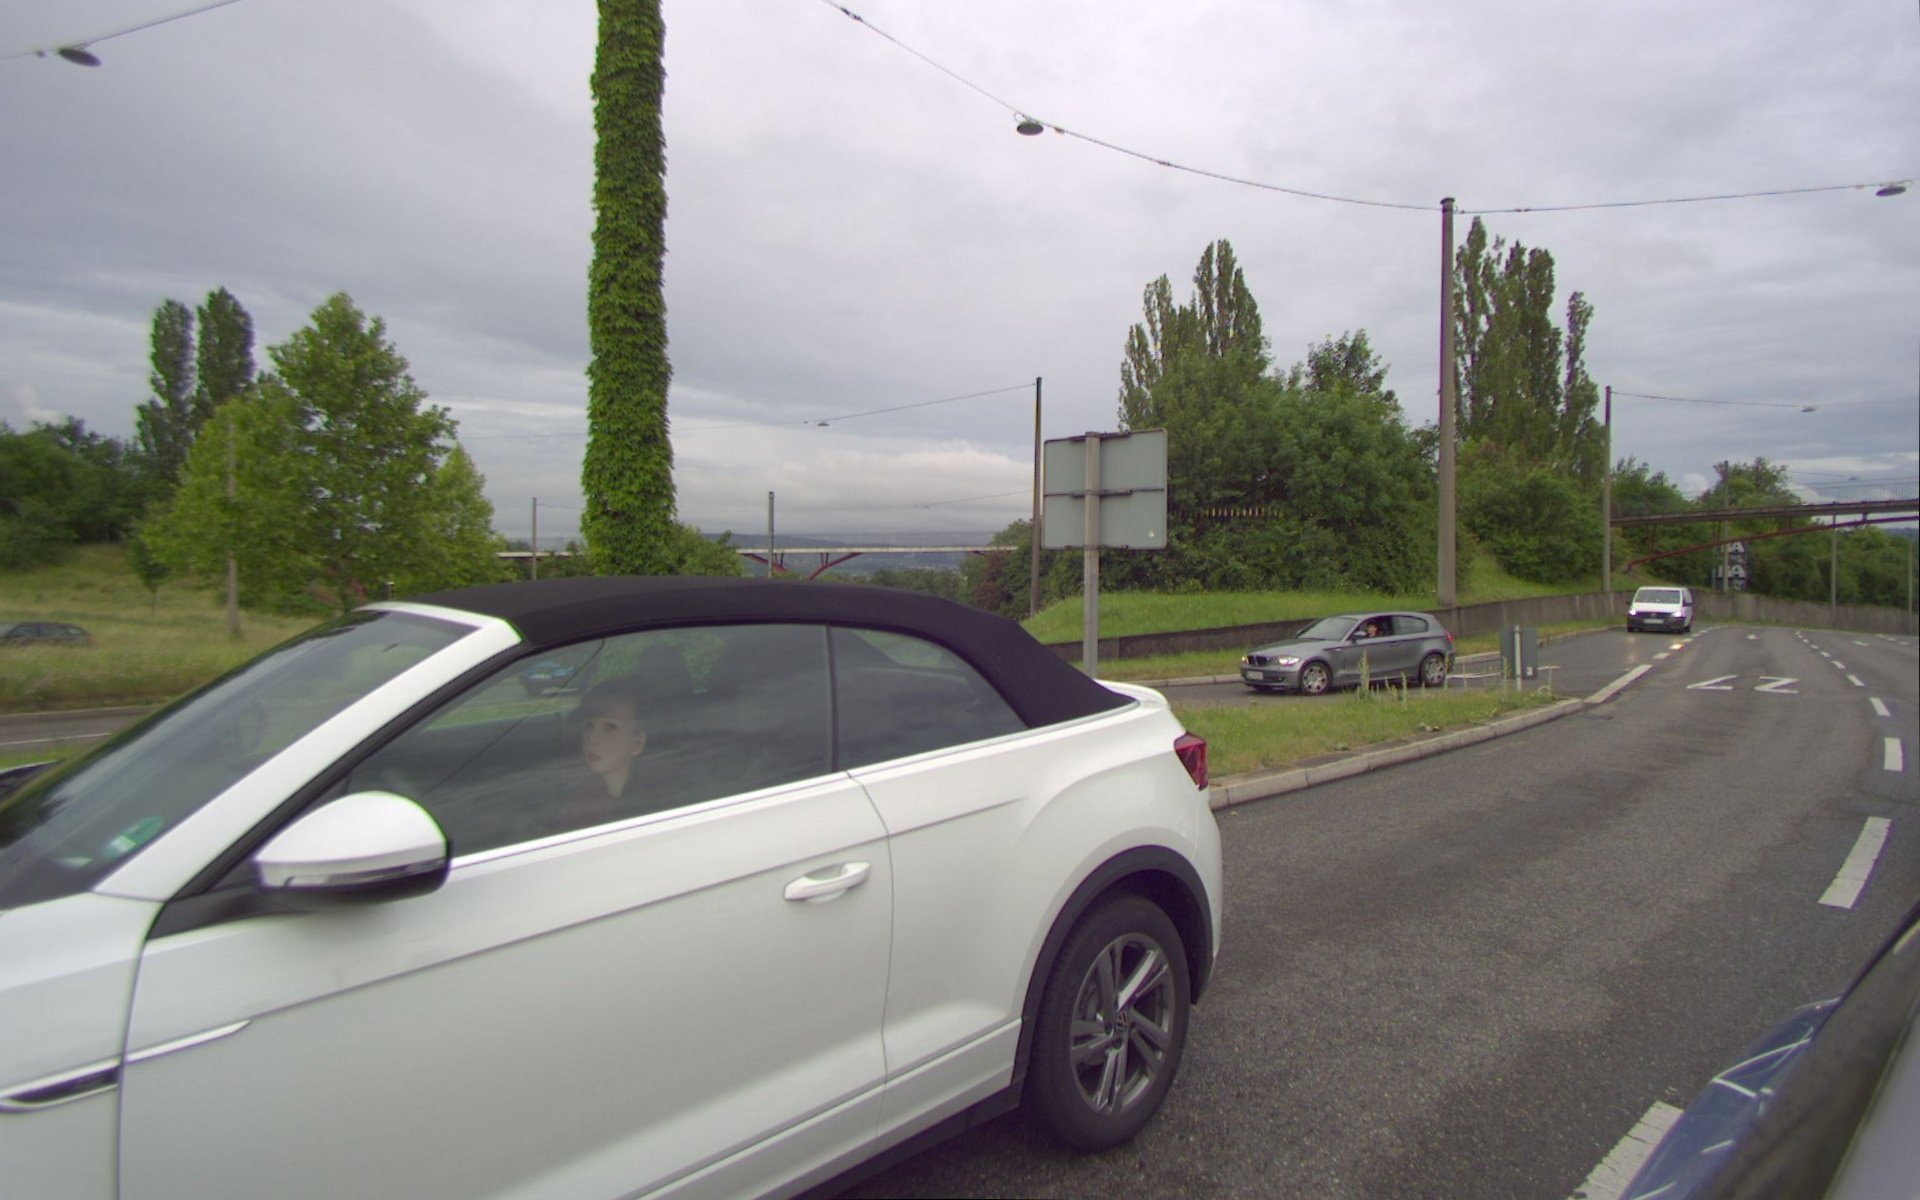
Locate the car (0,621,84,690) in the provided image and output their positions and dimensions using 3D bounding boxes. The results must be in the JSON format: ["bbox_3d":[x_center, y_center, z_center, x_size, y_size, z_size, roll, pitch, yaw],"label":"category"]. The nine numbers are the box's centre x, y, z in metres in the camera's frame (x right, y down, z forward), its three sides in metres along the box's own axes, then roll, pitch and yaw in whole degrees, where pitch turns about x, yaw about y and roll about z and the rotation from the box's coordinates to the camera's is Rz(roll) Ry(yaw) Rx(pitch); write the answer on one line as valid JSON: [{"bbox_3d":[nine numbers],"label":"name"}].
[{"bbox_3d":[-30.371,1.741,31.792,1.967,2.039,3.989,0,1,10],"label":"car"}]

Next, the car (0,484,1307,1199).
[{"bbox_3d":[-0.950,0.635,2.484,4.160,1.572,1.714,-1,1,-44],"label":"car"}]

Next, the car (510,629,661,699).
[{"bbox_3d":[-9.755,1.611,26.738,1.674,1.494,4.276,0,1,13],"label":"car"}]

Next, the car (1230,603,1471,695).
[{"bbox_3d":[7.192,0.829,18.673,3.996,1.438,1.689,-2,0,-20],"label":"car"}]

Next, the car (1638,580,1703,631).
[{"bbox_3d":[29.174,0.178,41.490,1.989,1.871,4.760,3,3,37],"label":"car"}]
